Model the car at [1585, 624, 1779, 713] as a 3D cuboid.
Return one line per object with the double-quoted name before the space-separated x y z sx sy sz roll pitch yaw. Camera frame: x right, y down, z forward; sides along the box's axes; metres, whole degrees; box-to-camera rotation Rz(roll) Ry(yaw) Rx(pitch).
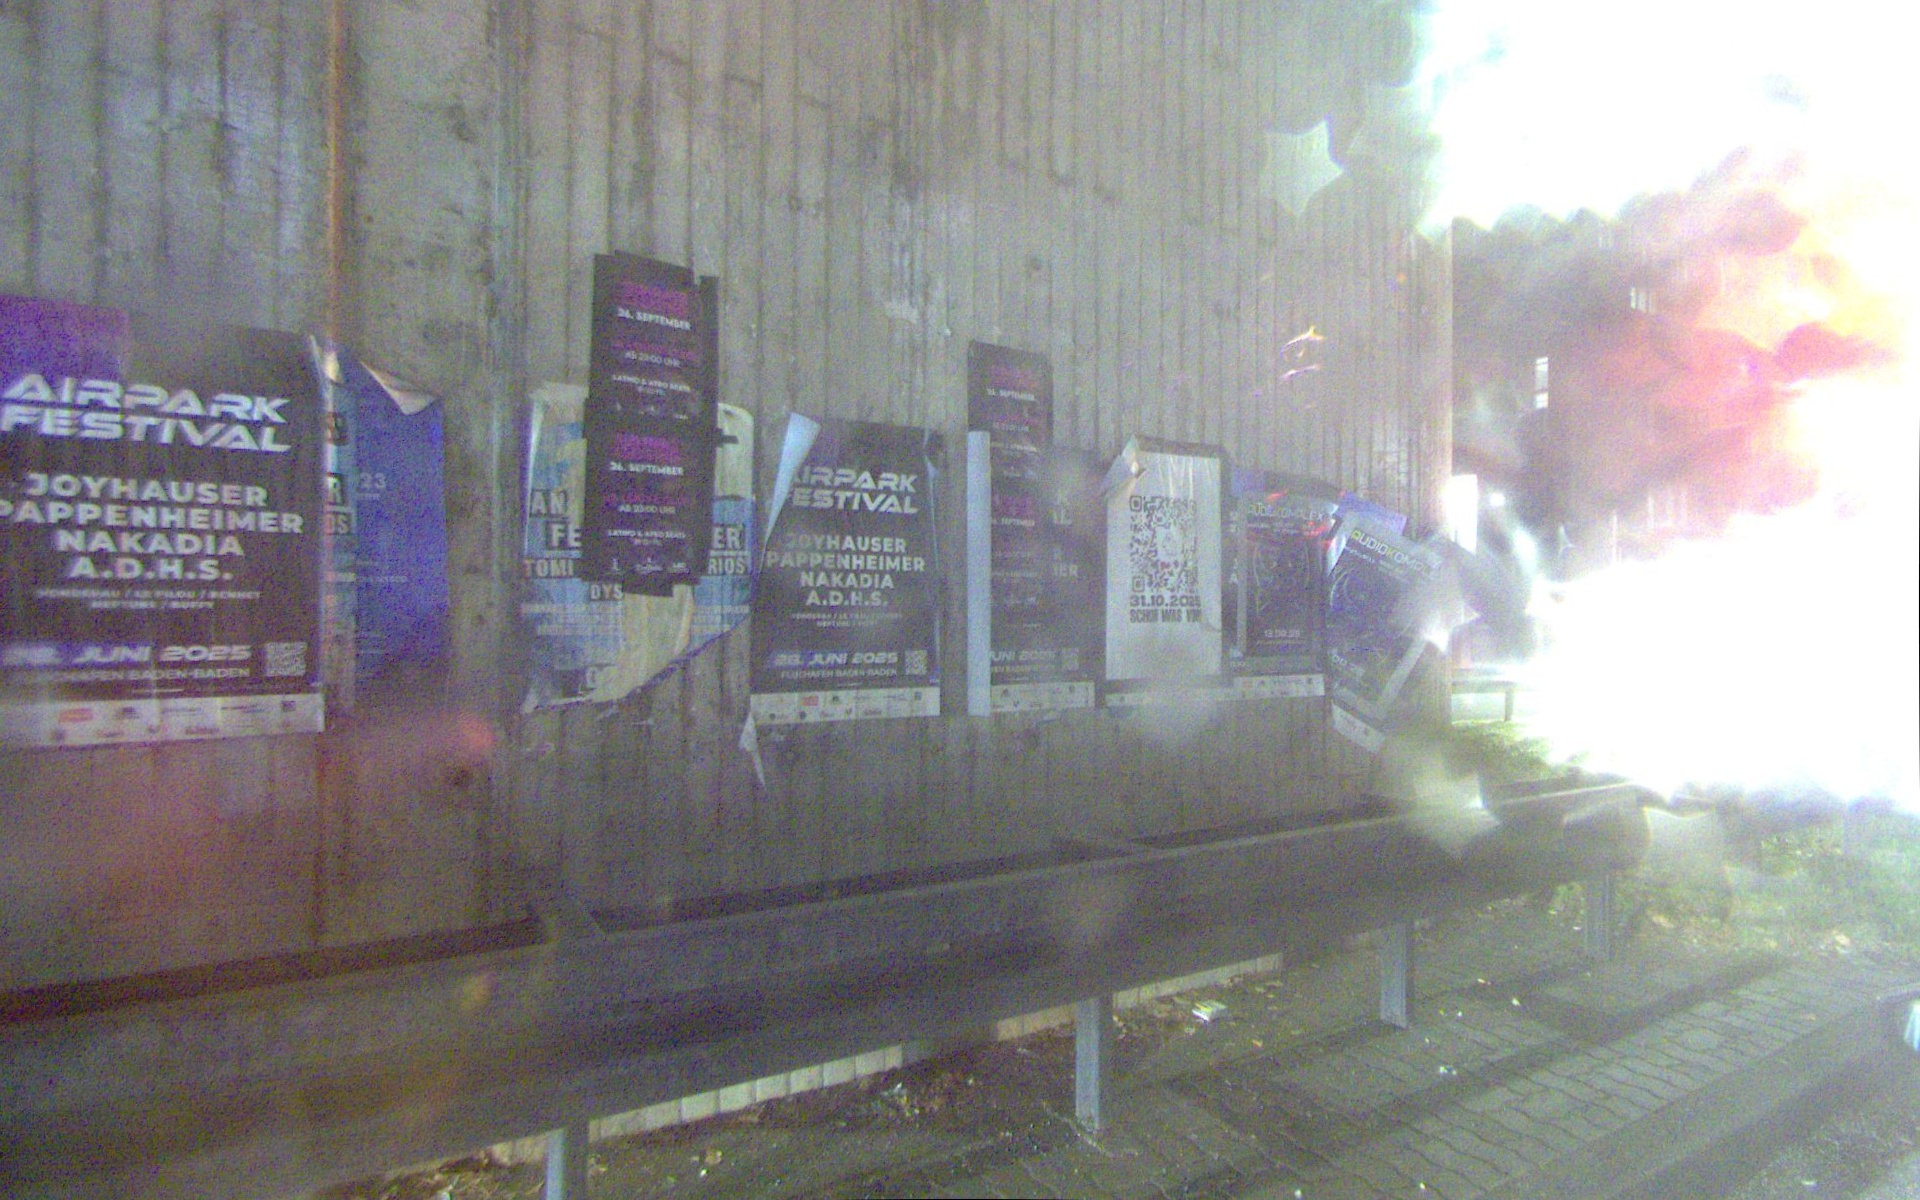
"car" 15.508 1.432 21.538 4.446 1.731 1.741 2 -3 -31
